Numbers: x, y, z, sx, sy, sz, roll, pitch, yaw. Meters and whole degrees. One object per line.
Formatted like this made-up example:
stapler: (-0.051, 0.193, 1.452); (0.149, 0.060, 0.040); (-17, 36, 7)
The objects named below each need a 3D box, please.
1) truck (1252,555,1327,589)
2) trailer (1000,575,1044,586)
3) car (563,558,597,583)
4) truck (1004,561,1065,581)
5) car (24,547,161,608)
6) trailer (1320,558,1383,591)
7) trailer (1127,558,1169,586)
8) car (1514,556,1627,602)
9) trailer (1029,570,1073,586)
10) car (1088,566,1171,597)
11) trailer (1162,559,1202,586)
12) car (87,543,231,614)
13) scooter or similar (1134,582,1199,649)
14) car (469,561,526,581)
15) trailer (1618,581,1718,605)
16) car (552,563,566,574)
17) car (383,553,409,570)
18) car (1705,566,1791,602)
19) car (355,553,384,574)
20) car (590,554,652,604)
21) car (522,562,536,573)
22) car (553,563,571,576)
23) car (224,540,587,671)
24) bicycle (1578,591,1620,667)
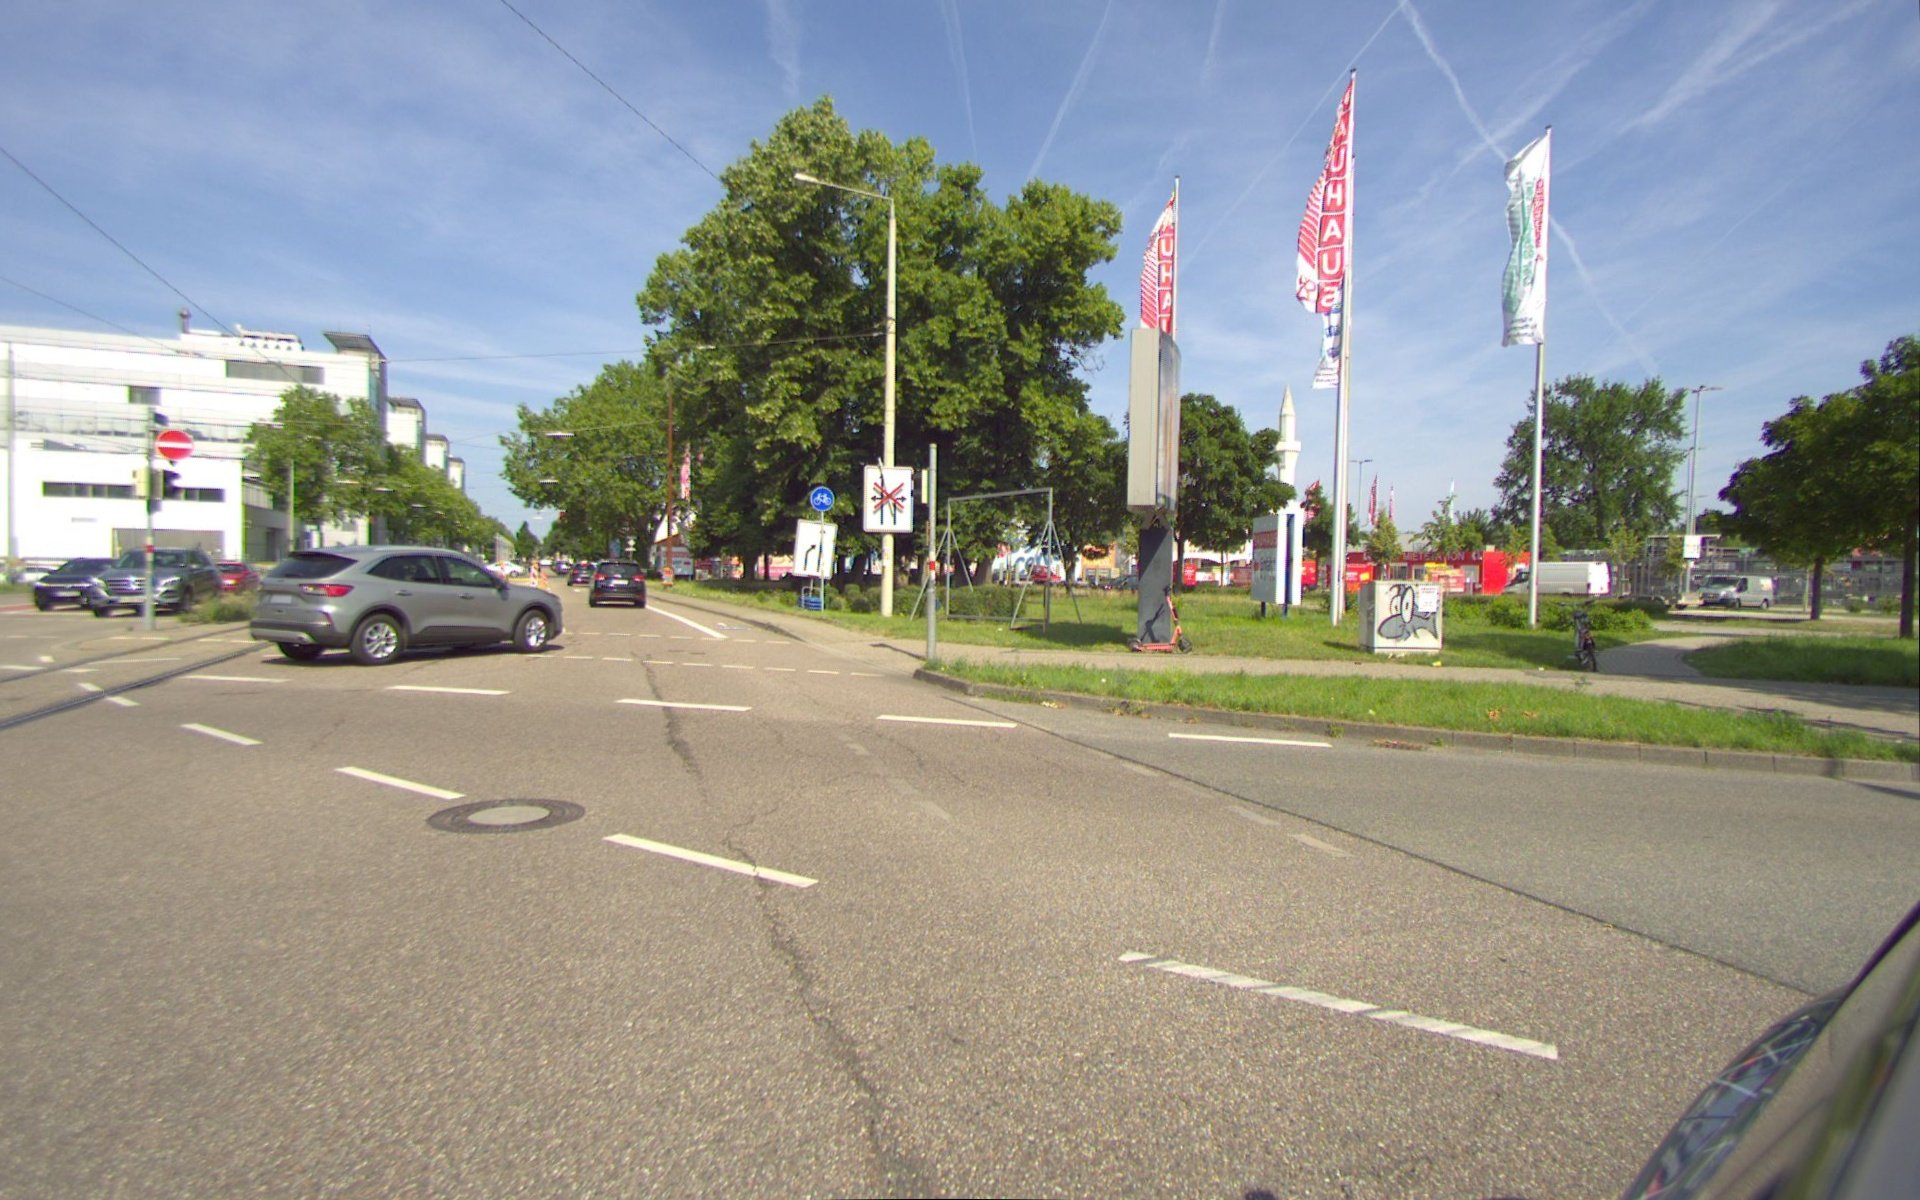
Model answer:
truck: (26.534, -2.232, 81.491); (5.906, 2.642, 2.023); (0, 1, -26)
trailer: (5.109, -1.611, 84.038); (2.055, 0.792, 4.422); (0, 2, -19)
car: (-24.340, -1.905, 64.714); (1.812, 1.529, 4.404); (0, 2, -23)
truck: (7.690, -2.981, 104.193); (5.879, 1.855, 2.191); (1, -1, -23)
car: (-26.107, -0.716, 30.653); (1.876, 1.709, 4.636); (0, 2, -24)
trailer: (29.598, -1.918, 76.492); (4.318, 2.405, 1.756); (1, 2, -20)
trailer: (16.975, -2.599, 91.463); (1.557, 2.405, 4.422); (1, 2, -21)
car: (36.442, -1.306, 60.615); (1.978, 2.573, 5.699); (-2, 3, -25)
trailer: (7.684, -1.900, 85.776); (1.558, 1.303, 4.419); (0, 2, -27)
car: (8.951, -0.973, 53.583); (3.965, 1.607, 1.734); (0, 1, -16)
trailer: (20.137, -2.517, 91.959); (1.518, 2.387, 4.423); (1, 2, -18)
car: (-21.050, -0.590, 26.833); (1.876, 1.709, 4.636); (0, 2, -24)
scooter or similar: (3.666, 0.268, 18.012); (1.106, 1.140, 0.424); (1, 1, 12)
car: (-40.638, -2.580, 88.923); (4.532, 1.709, 1.919); (0, 2, -28)
trailer: (38.734, -0.400, 55.493); (2.026, 1.136, 4.040); (-2, 3, -22)
car: (-57.472, -4.462, 145.124); (1.812, 1.529, 4.353); (0, 2, -23)
car: (-58.357, -3.960, 104.727); (1.876, 1.709, 4.637); (0, 2, -23)
car: (44.639, -0.893, 57.350); (4.731, 1.838, 1.879); (1, 3, -26)
car: (-52.078, -3.236, 89.337); (1.744, 1.832, 4.636); (0, 2, -24)
car: (-11.754, -0.753, 34.958); (1.776, 1.625, 4.388); (0, 2, -22)
car: (-60.774, -4.625, 142.599); (1.812, 1.529, 4.353); (0, 2, -23)
car: (-47.463, -3.608, 120.614); (1.812, 1.529, 4.353); (0, 2, -23)
car: (-8.199, -0.013, 15.496); (1.977, 1.671, 4.615); (2, 2, 26)
bicycle: (10.583, 0.444, 16.790); (0.499, 1.121, 1.773); (1, 3, 30)
